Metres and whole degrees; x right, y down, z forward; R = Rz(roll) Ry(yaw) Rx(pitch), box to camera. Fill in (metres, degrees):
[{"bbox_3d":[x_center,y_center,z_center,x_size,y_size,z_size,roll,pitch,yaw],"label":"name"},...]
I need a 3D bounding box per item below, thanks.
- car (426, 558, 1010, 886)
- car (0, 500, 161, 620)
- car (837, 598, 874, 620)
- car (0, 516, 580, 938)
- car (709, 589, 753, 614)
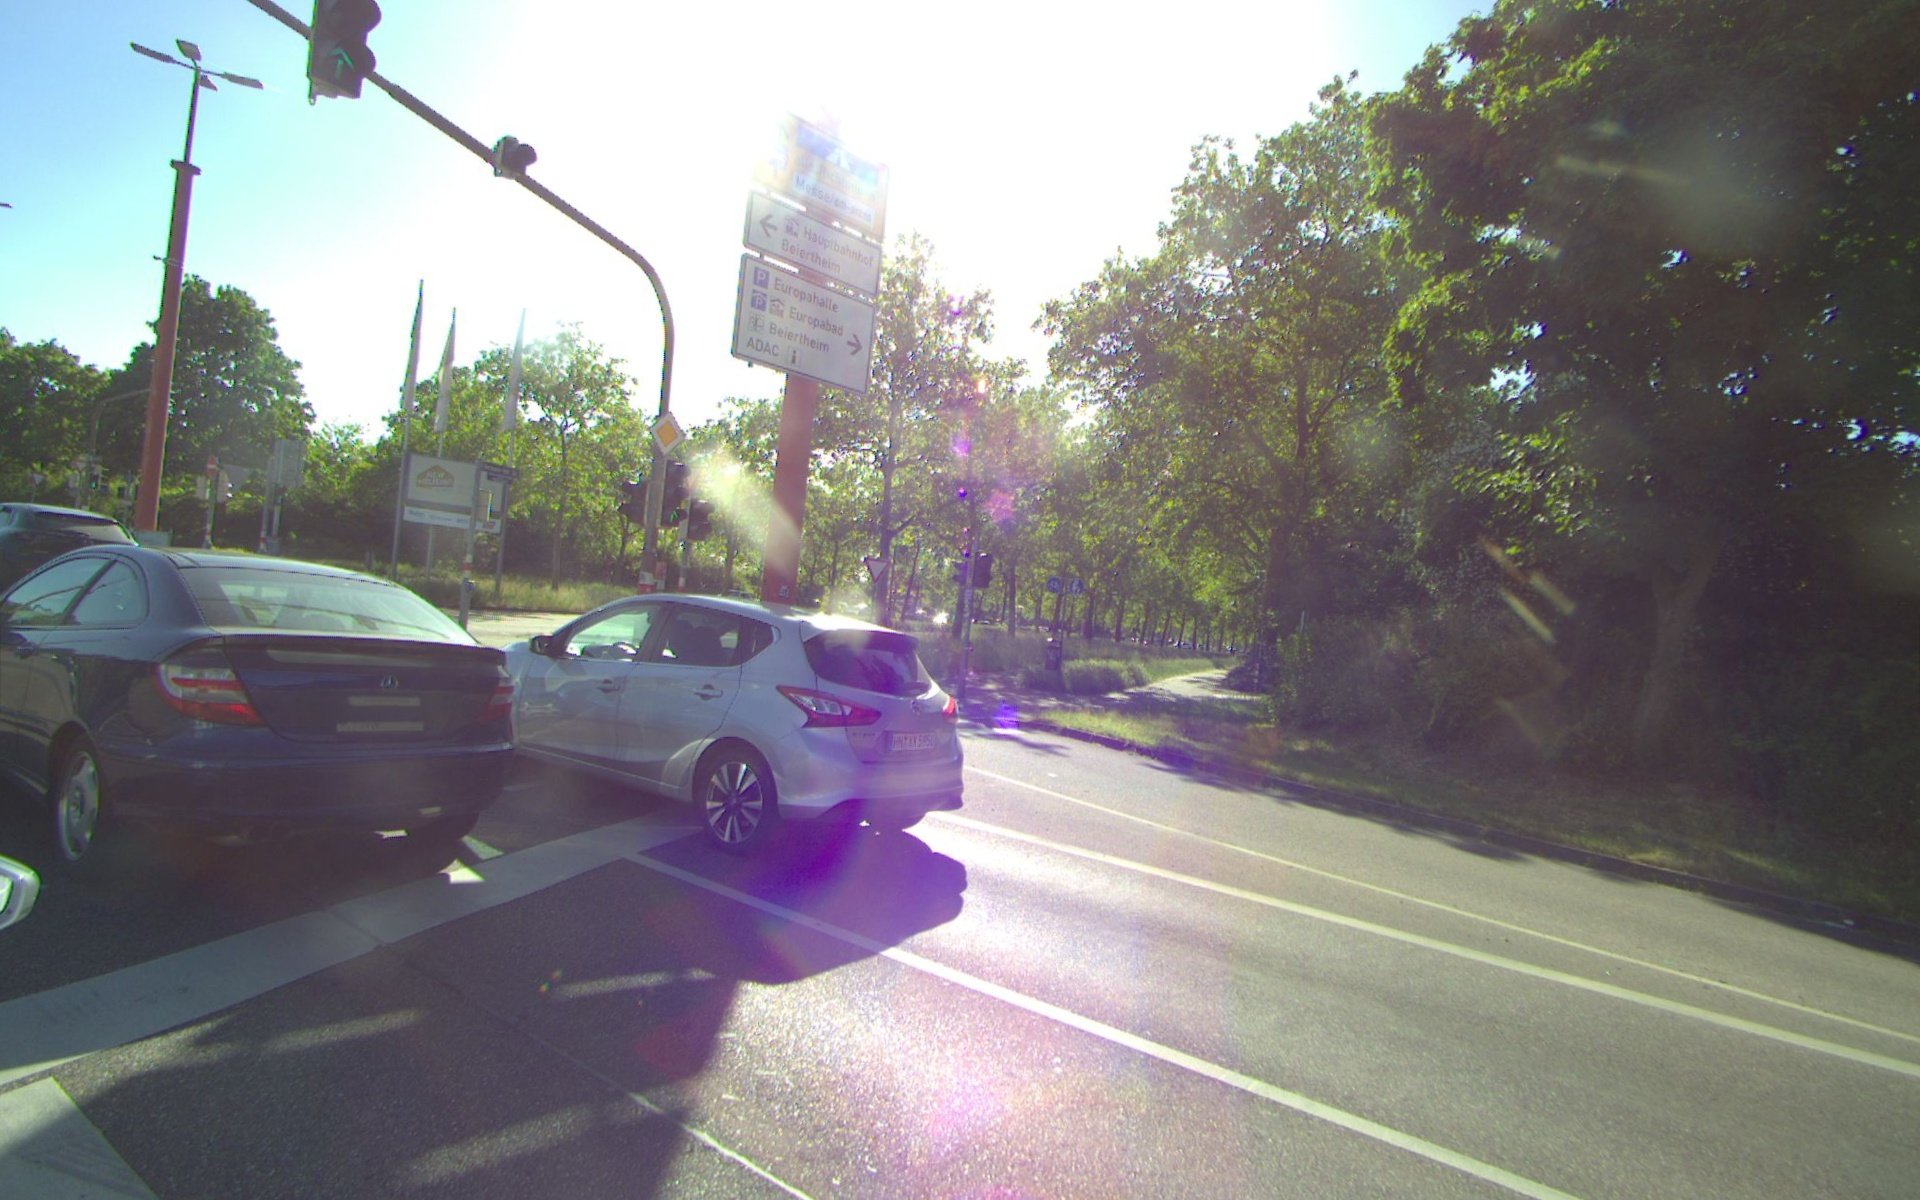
[{"bbox_3d":[-1.889,0.711,7.364,4.071,1.535,1.724,6,-2,34],"label":"car"},{"bbox_3d":[-14.703,-0.708,16.078,4.159,1.525,1.770,6,-2,34],"label":"car"},{"bbox_3d":[-9.683,0.879,93.615,1.740,1.525,4.231,6,-2,17],"label":"car"},{"bbox_3d":[-4.108,0.409,5.457,3.985,1.437,1.720,6,-1,34],"label":"car"},{"bbox_3d":[-18.473,0.141,81.363,1.831,1.534,4.143,7,-2,12],"label":"car"}]
